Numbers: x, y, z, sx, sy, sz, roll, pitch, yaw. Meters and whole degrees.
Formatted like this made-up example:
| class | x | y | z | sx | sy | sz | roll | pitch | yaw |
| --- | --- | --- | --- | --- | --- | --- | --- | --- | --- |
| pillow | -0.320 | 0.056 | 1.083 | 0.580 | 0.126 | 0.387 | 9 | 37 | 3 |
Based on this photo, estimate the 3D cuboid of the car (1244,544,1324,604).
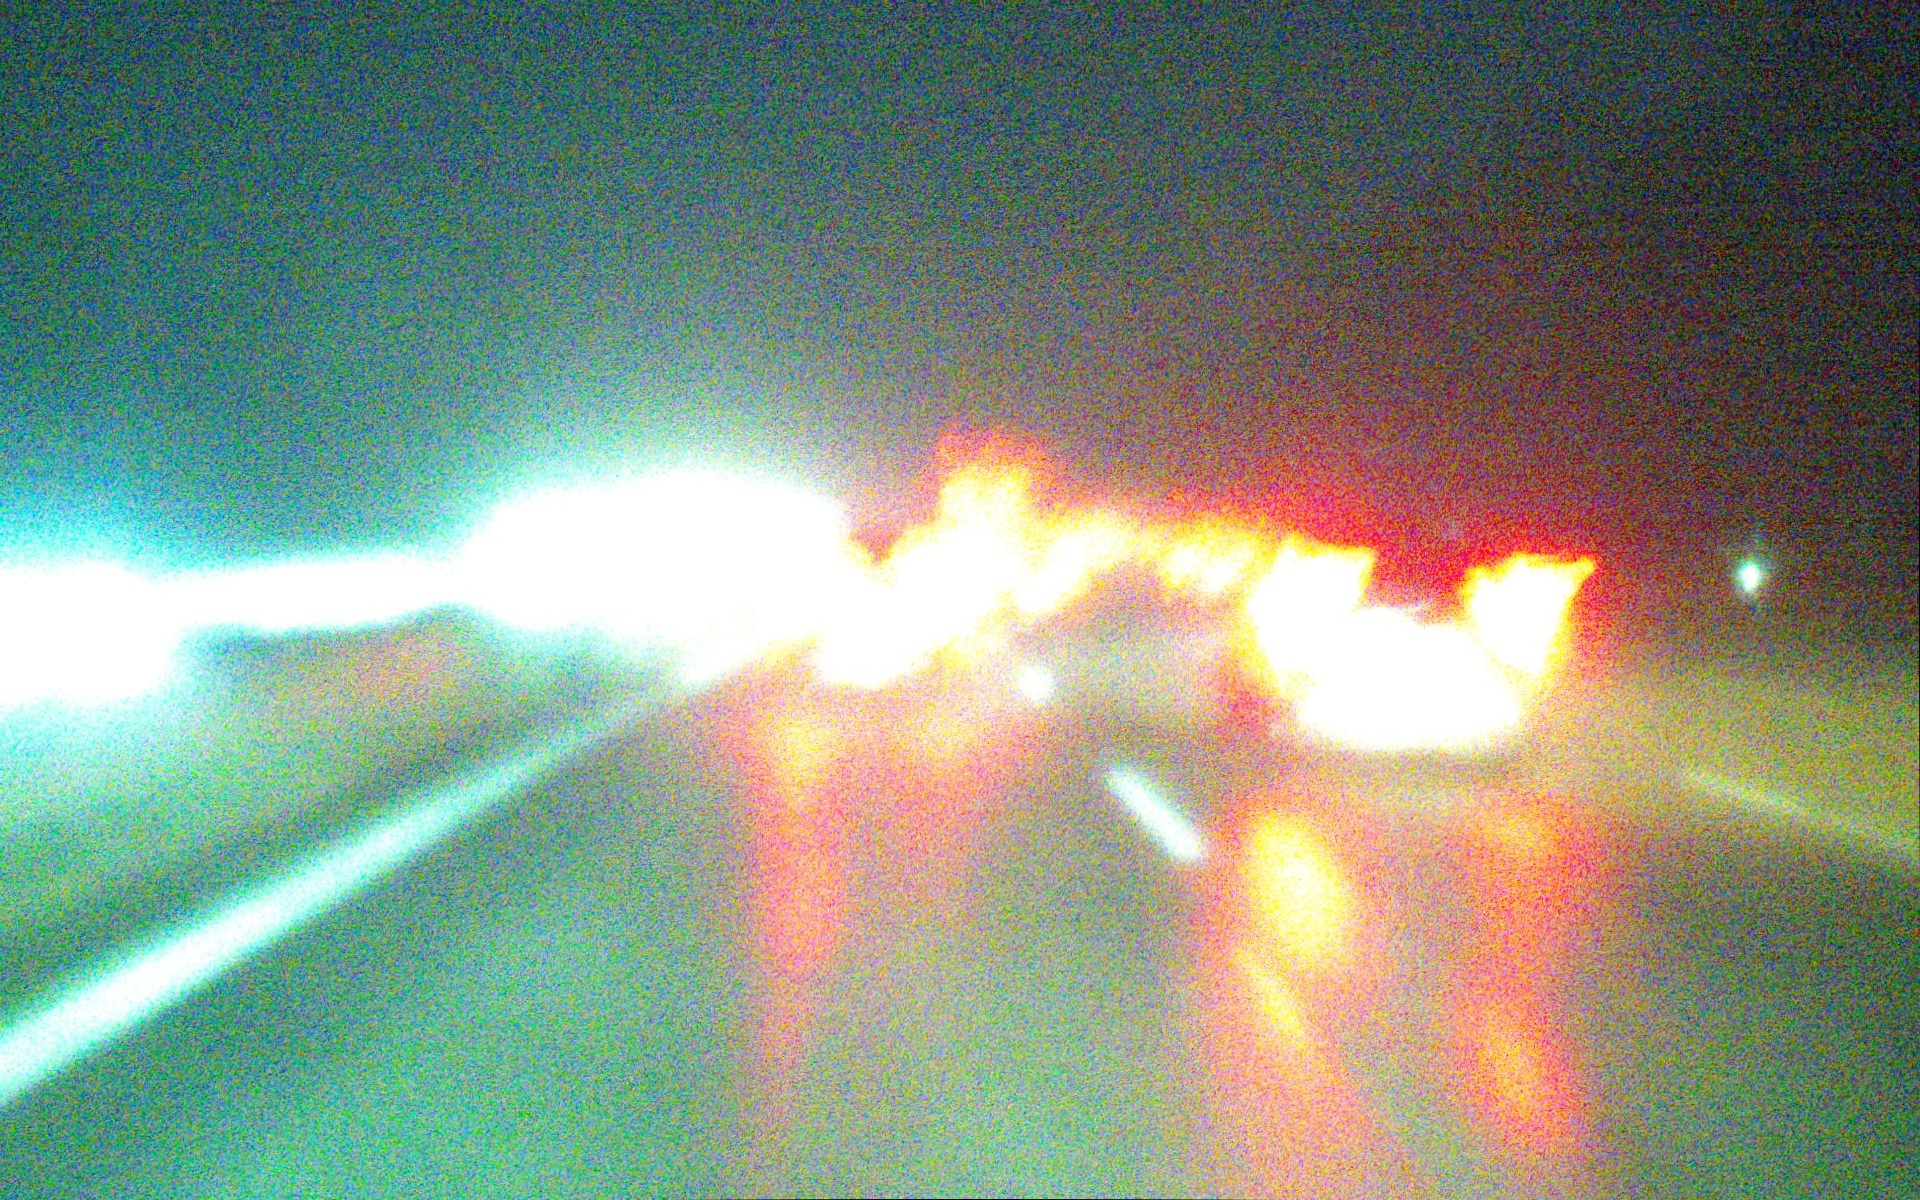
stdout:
| class | x | y | z | sx | sy | sz | roll | pitch | yaw |
| --- | --- | --- | --- | --- | --- | --- | --- | --- | --- |
| car | 9.058 | -0.738 | 96.386 | 1.856 | 1.612 | 4.000 | 1 | 1 | 0 |

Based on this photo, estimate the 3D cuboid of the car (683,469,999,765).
| class | x | y | z | sx | sy | sz | roll | pitch | yaw |
| --- | --- | --- | --- | --- | --- | --- | --- | --- | --- |
| car | -1.164 | 0.074 | 33.341 | 2.709 | 2.525 | 5.832 | -2 | 2 | -2 |

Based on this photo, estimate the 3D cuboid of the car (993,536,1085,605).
| class | x | y | z | sx | sy | sz | roll | pitch | yaw |
| --- | --- | --- | --- | --- | --- | --- | --- | --- | --- |
| car | 1.917 | -0.740 | 84.594 | 2.137 | 1.612 | 4.000 | 1 | 1 | 0 |

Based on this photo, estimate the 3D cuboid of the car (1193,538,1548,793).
| class | x | y | z | sx | sy | sz | roll | pitch | yaw |
| --- | --- | --- | --- | --- | --- | --- | --- | --- | --- |
| car | 2.714 | 0.375 | 23.600 | 1.884 | 1.583 | 4.000 | 0 | 1 | -1 |

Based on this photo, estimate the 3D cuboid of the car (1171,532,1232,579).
| class | x | y | z | sx | sy | sz | roll | pitch | yaw |
| --- | --- | --- | --- | --- | --- | --- | --- | --- | --- |
| car | 8.478 | -1.558 | 120.785 | 1.856 | 1.612 | 4.000 | 1 | 1 | 1 |

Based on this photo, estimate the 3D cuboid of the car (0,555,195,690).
| class | x | y | z | sx | sy | sz | roll | pitch | yaw |
| --- | --- | --- | --- | --- | --- | --- | --- | --- | --- |
| car | -10.766 | 0.245 | 42.529 | 1.710 | 1.558 | 4.296 | -1 | 1 | -1 |
